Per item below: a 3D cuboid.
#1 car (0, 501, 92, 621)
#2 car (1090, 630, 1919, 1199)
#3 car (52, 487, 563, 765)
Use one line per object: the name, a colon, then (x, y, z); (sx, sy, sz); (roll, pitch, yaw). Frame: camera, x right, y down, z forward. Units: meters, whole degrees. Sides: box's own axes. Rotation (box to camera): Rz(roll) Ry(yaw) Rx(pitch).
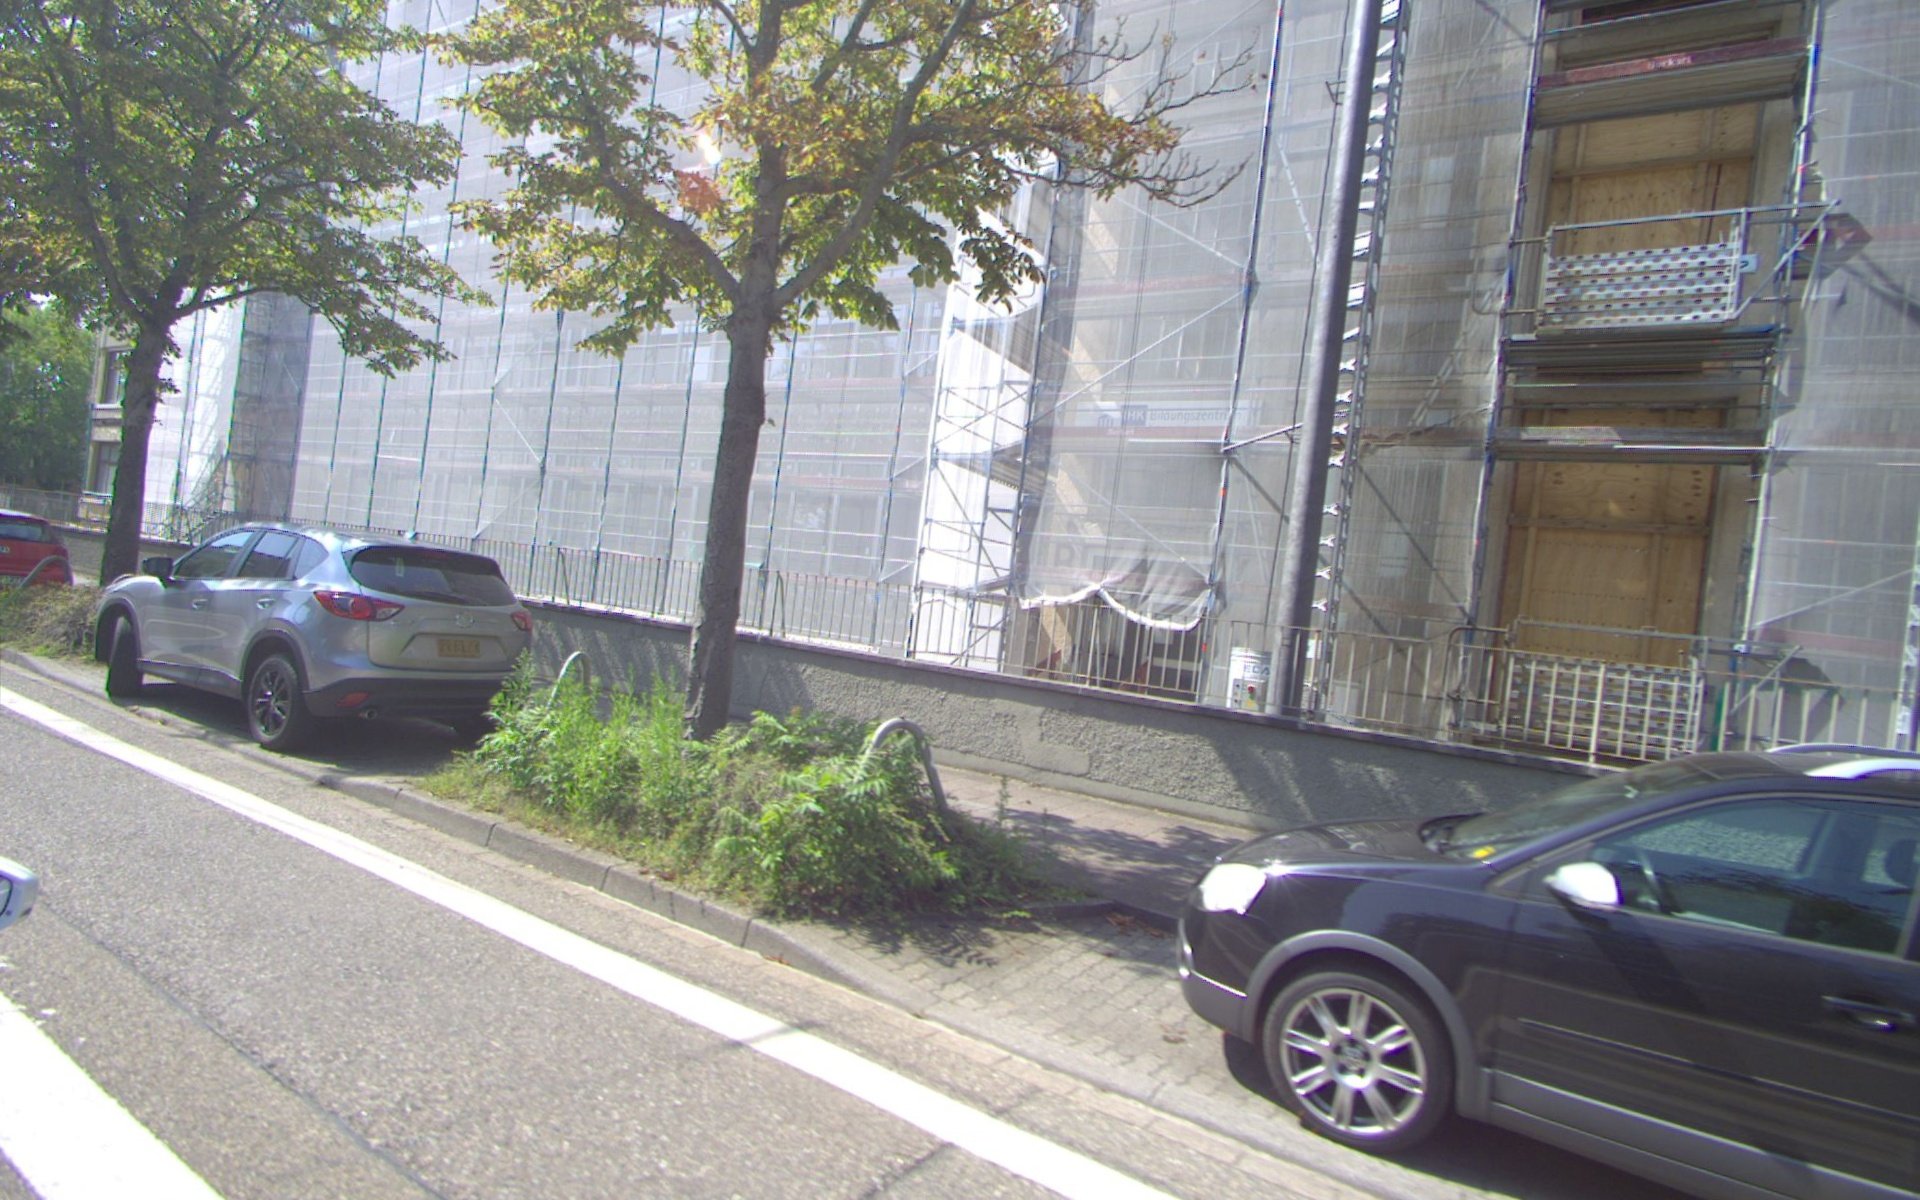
car: (-14.362, -0.714, 14.401); (4.064, 1.518, 1.688); (6, -2, 32)
car: (2.677, 1.165, 3.514); (3.935, 1.589, 1.687); (6, -1, 33)
car: (-5.740, 0.121, 8.683); (4.571, 1.708, 1.765); (6, -1, 31)
